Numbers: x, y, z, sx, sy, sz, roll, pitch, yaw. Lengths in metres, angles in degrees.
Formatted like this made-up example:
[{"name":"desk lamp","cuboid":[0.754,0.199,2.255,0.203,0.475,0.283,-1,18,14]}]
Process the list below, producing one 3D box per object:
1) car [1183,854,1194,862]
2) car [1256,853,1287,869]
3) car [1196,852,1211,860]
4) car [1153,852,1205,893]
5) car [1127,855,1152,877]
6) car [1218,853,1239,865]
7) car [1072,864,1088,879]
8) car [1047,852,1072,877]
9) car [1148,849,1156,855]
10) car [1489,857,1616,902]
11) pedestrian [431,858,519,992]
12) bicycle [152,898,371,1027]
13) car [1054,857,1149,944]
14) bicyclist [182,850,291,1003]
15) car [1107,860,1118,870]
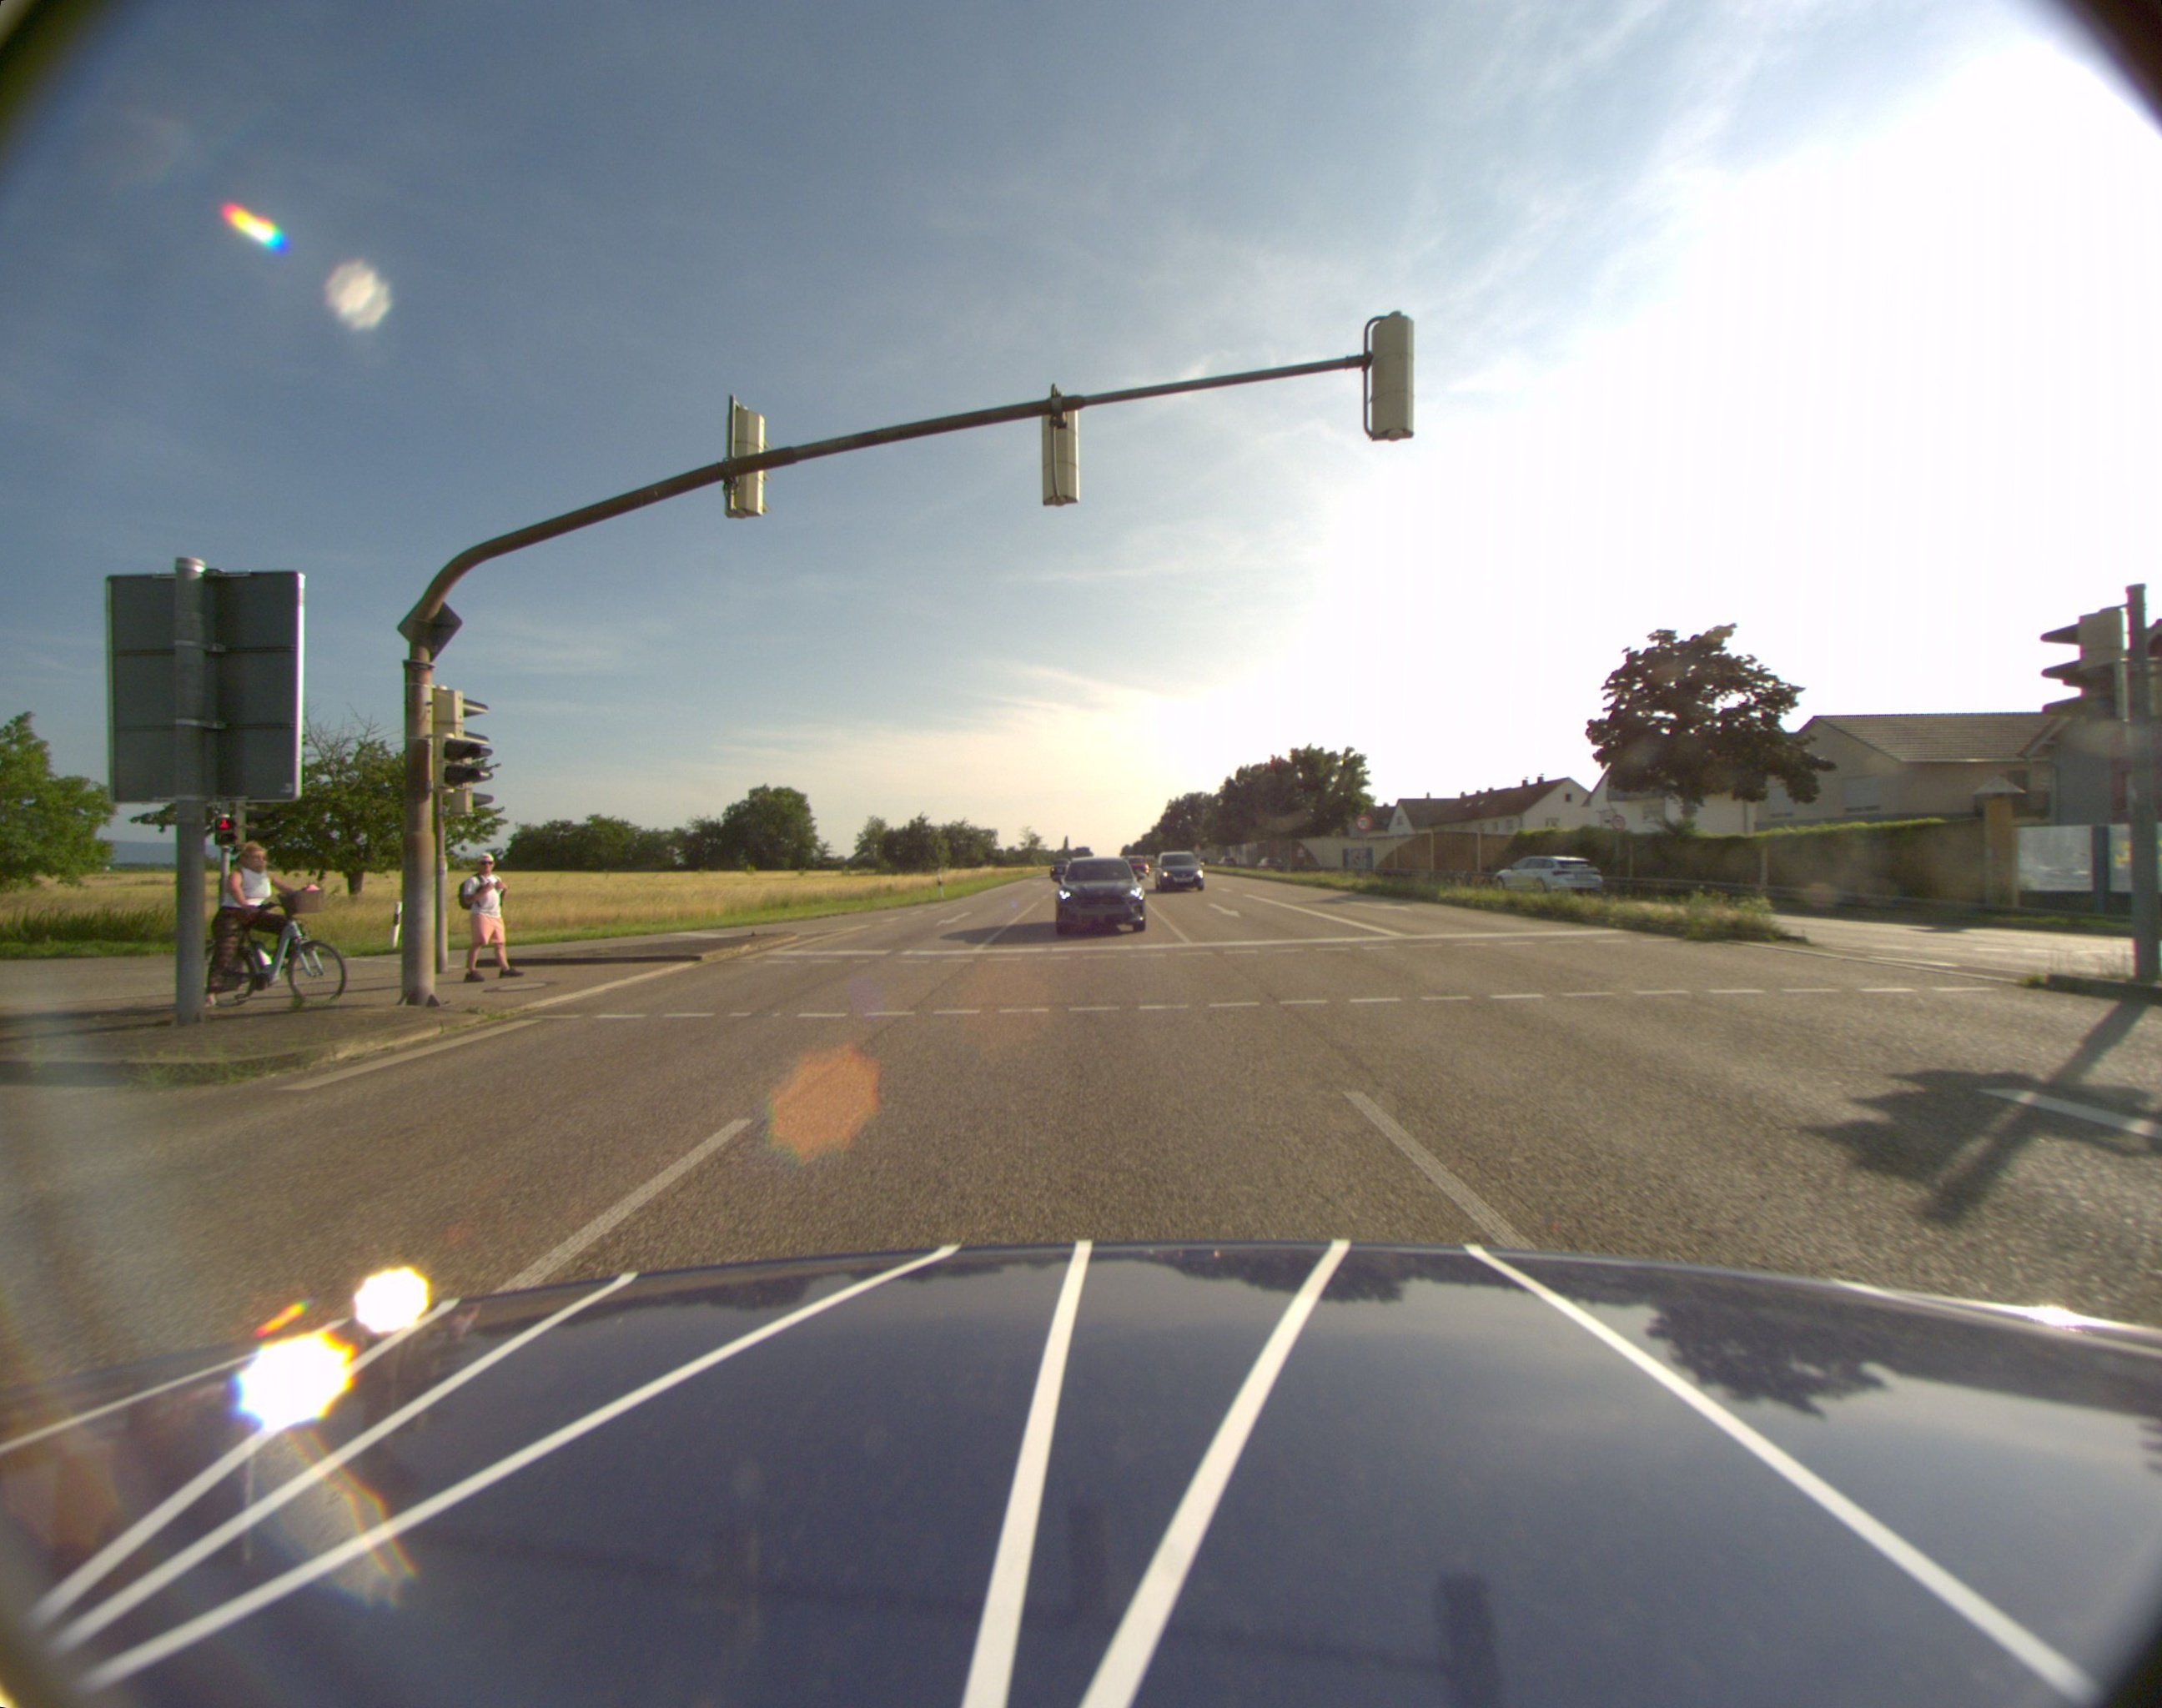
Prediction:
[{"name":"car","cuboid":[20.184,0.725,143.167,1.542,1.352,3.498,1,0,-1]},{"name":"car","cuboid":[18.348,0.632,73.380,1.793,1.375,4.554,-2,0,1]},{"name":"car","cuboid":[19.600,0.325,122.011,1.868,1.345,3.775,1,0,2]},{"name":"car","cuboid":[4.207,0.752,33.192,1.777,1.612,4.682,-1,0,2]},{"name":"car","cuboid":[4.610,0.929,60.536,1.748,1.537,4.000,-2,0,2]},{"name":"car","cuboid":[18.982,0.640,98.049,1.739,1.346,3.999,-2,0,-1]},{"name":"car","cuboid":[-0.173,1.973,86.323,1.686,1.565,3.817,-2,0,-1]},{"name":"car","cuboid":[-1.840,0.852,65.447,1.999,2.002,3.999,-2,0,-1]},{"name":"car","cuboid":[17.831,-0.545,191.744,1.686,1.565,3.818,-2,0,2]},{"name":"car","cuboid":[16.964,0.855,27.684,1.758,1.453,4.735,1,0,1]},{"name":"pedestrian","cuboid":[-8.118,0.933,10.194,0.623,1.741,0.598,-2,1,11]},{"name":"bicycle","cuboid":[-8.895,1.162,8.278,1.857,1.282,0.529,-2,1,4]},{"name":"car","cuboid":[0.473,0.917,16.958,1.791,1.594,4.340,-2,0,2]},{"name":"bicyclist","cuboid":[-9.189,0.770,8.282,0.560,1.603,0.504,-2,1,7]},{"name":"car","cuboid":[6.653,2.388,159.898,1.999,2.002,3.999,-2,0,-2]}]
